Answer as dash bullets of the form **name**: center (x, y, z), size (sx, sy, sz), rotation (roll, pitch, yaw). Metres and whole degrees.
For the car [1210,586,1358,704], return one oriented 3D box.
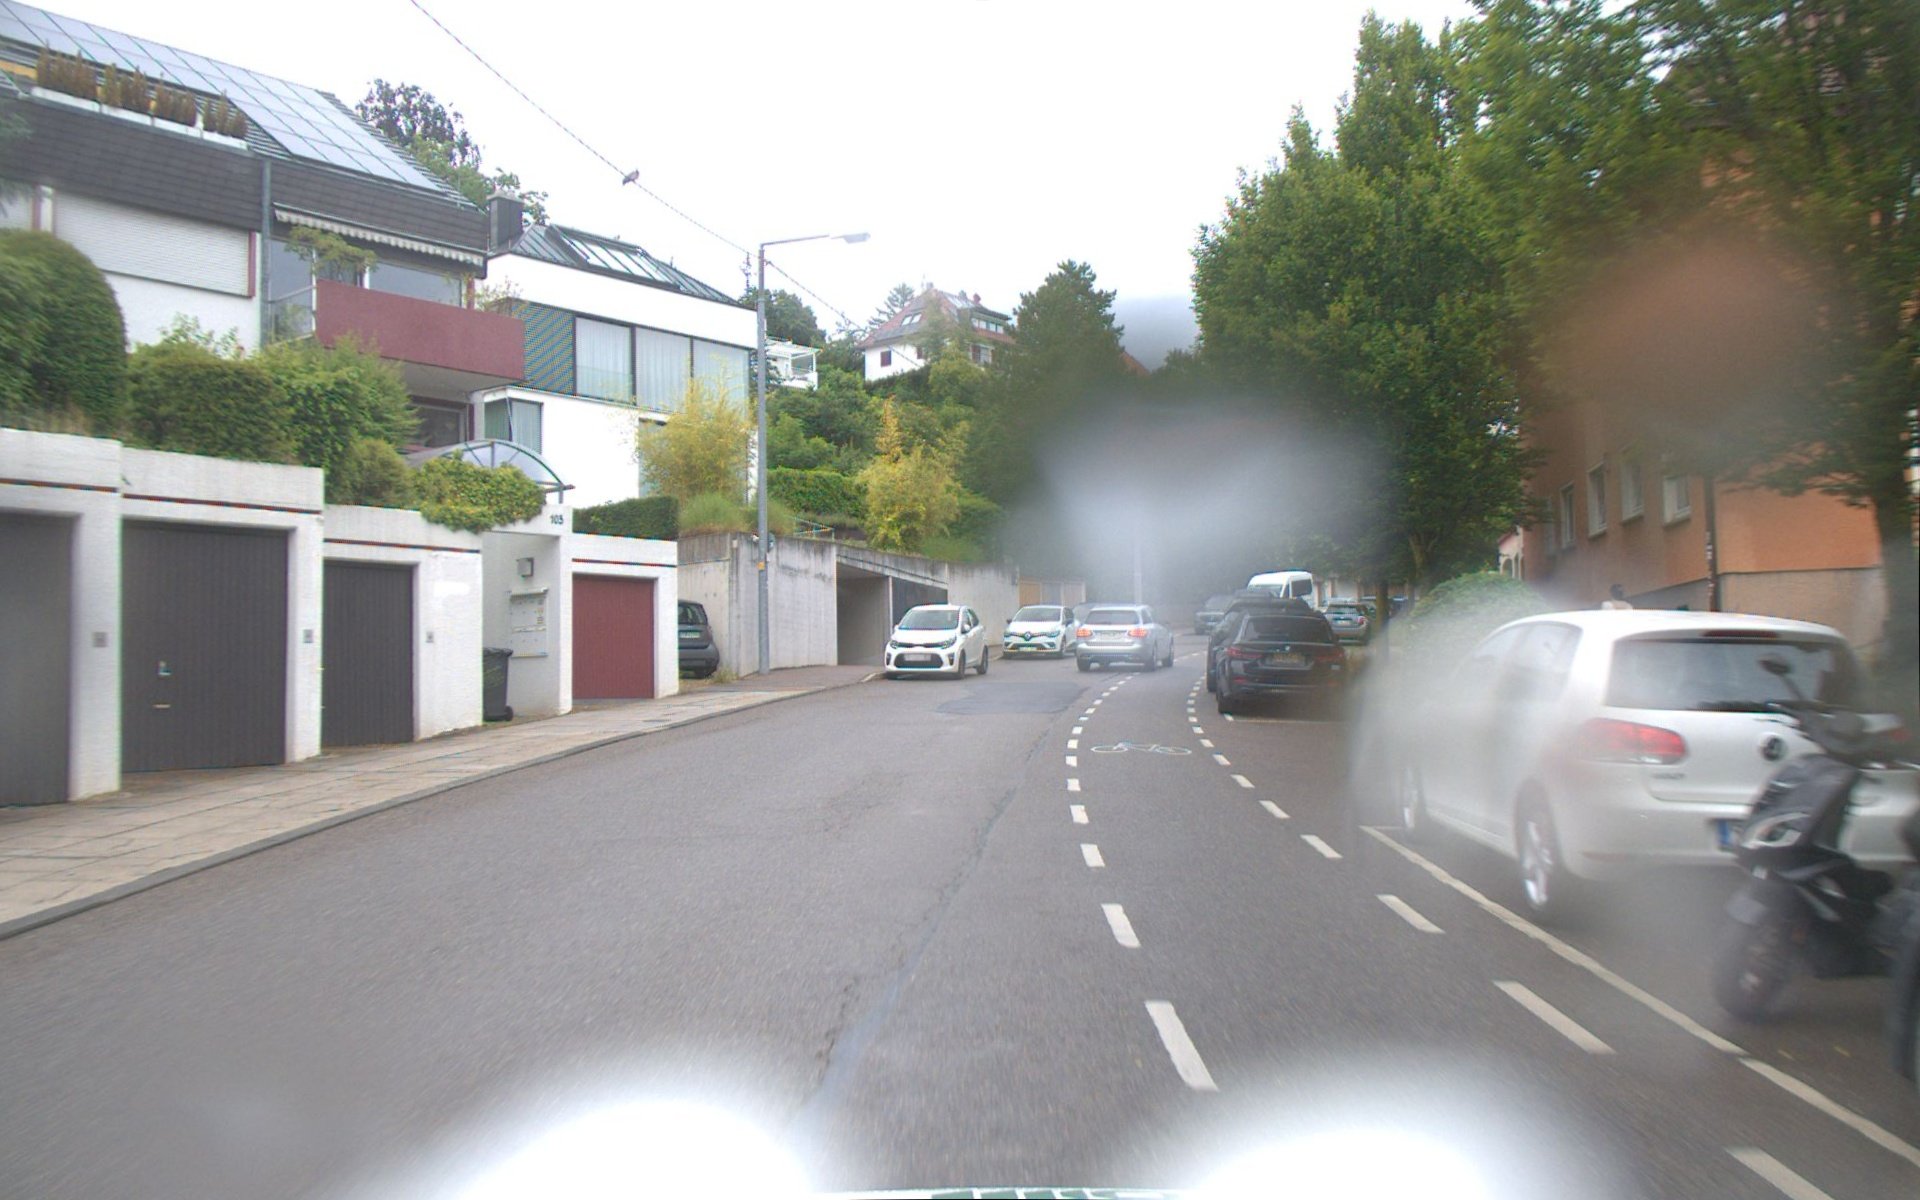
- **car**: center (4.789, 0.617, 25.016), size (1.815, 1.608, 4.861), rotation (-1, 0, 7)

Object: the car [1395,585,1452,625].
- **car**: center (18.635, 0.185, 66.366), size (1.621, 1.546, 3.998), rotation (0, 1, 24)

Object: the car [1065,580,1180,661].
- **car**: center (3.783, 0.449, 37.903), size (1.982, 1.738, 4.218), rotation (0, 0, 15)

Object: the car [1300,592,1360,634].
- **car**: center (16.171, 0.557, 72.107), size (1.953, 1.738, 4.000), rotation (0, 0, 22)

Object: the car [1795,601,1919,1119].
- **car**: center (3.569, 0.736, 3.089), size (1.839, 1.441, 4.468), rotation (0, 0, 1)

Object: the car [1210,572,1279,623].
- **car**: center (10.128, -0.075, 58.646), size (1.951, 1.738, 4.002), rotation (0, 0, 17)

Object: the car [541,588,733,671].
- **car**: center (-6.485, 0.545, 33.019), size (3.859, 1.504, 1.758), rotation (1, 1, 40)

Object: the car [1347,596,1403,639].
- **car**: center (15.912, 0.636, 63.316), size (1.594, 1.590, 3.021), rotation (0, 0, 24)

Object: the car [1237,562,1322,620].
- **car**: center (14.985, -0.456, 77.218), size (2.055, 2.594, 6.087), rotation (-2, 0, 29)

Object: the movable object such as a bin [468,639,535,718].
- **movable object such as a bin**: center (-5.937, 1.006, 21.423), size (0.534, 0.980, 0.643), rotation (0, 0, 38)

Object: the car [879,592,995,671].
- **car**: center (-0.419, 0.618, 34.913), size (1.592, 1.542, 3.836), rotation (-1, 0, 12)

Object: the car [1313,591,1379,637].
- **car**: center (13.324, 0.444, 56.967), size (1.634, 1.496, 3.709), rotation (1, 1, 22)

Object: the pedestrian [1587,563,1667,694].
- **pedestrian**: center (9.292, 0.393, 23.071), size (0.744, 1.750, 0.903), rotation (-3, 0, 7)

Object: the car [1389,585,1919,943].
- **car**: center (3.630, 0.699, 9.134), size (1.622, 1.515, 4.001), rotation (1, 0, 2)

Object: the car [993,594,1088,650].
- **car**: center (2.310, 0.596, 46.391), size (1.793, 1.465, 4.043), rotation (-1, 0, 15)

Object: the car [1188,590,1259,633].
- **car**: center (11.146, 0.468, 69.662), size (1.857, 1.721, 4.544), rotation (-2, 0, 24)

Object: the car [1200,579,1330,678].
- **car**: center (5.784, 0.488, 30.848), size (2.010, 1.685, 5.240), rotation (-1, 0, 15)

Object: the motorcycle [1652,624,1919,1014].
- **motorcycle**: center (3.726, 0.790, 6.258), size (1.875, 1.353, 0.787), rotation (1, 0, -4)
